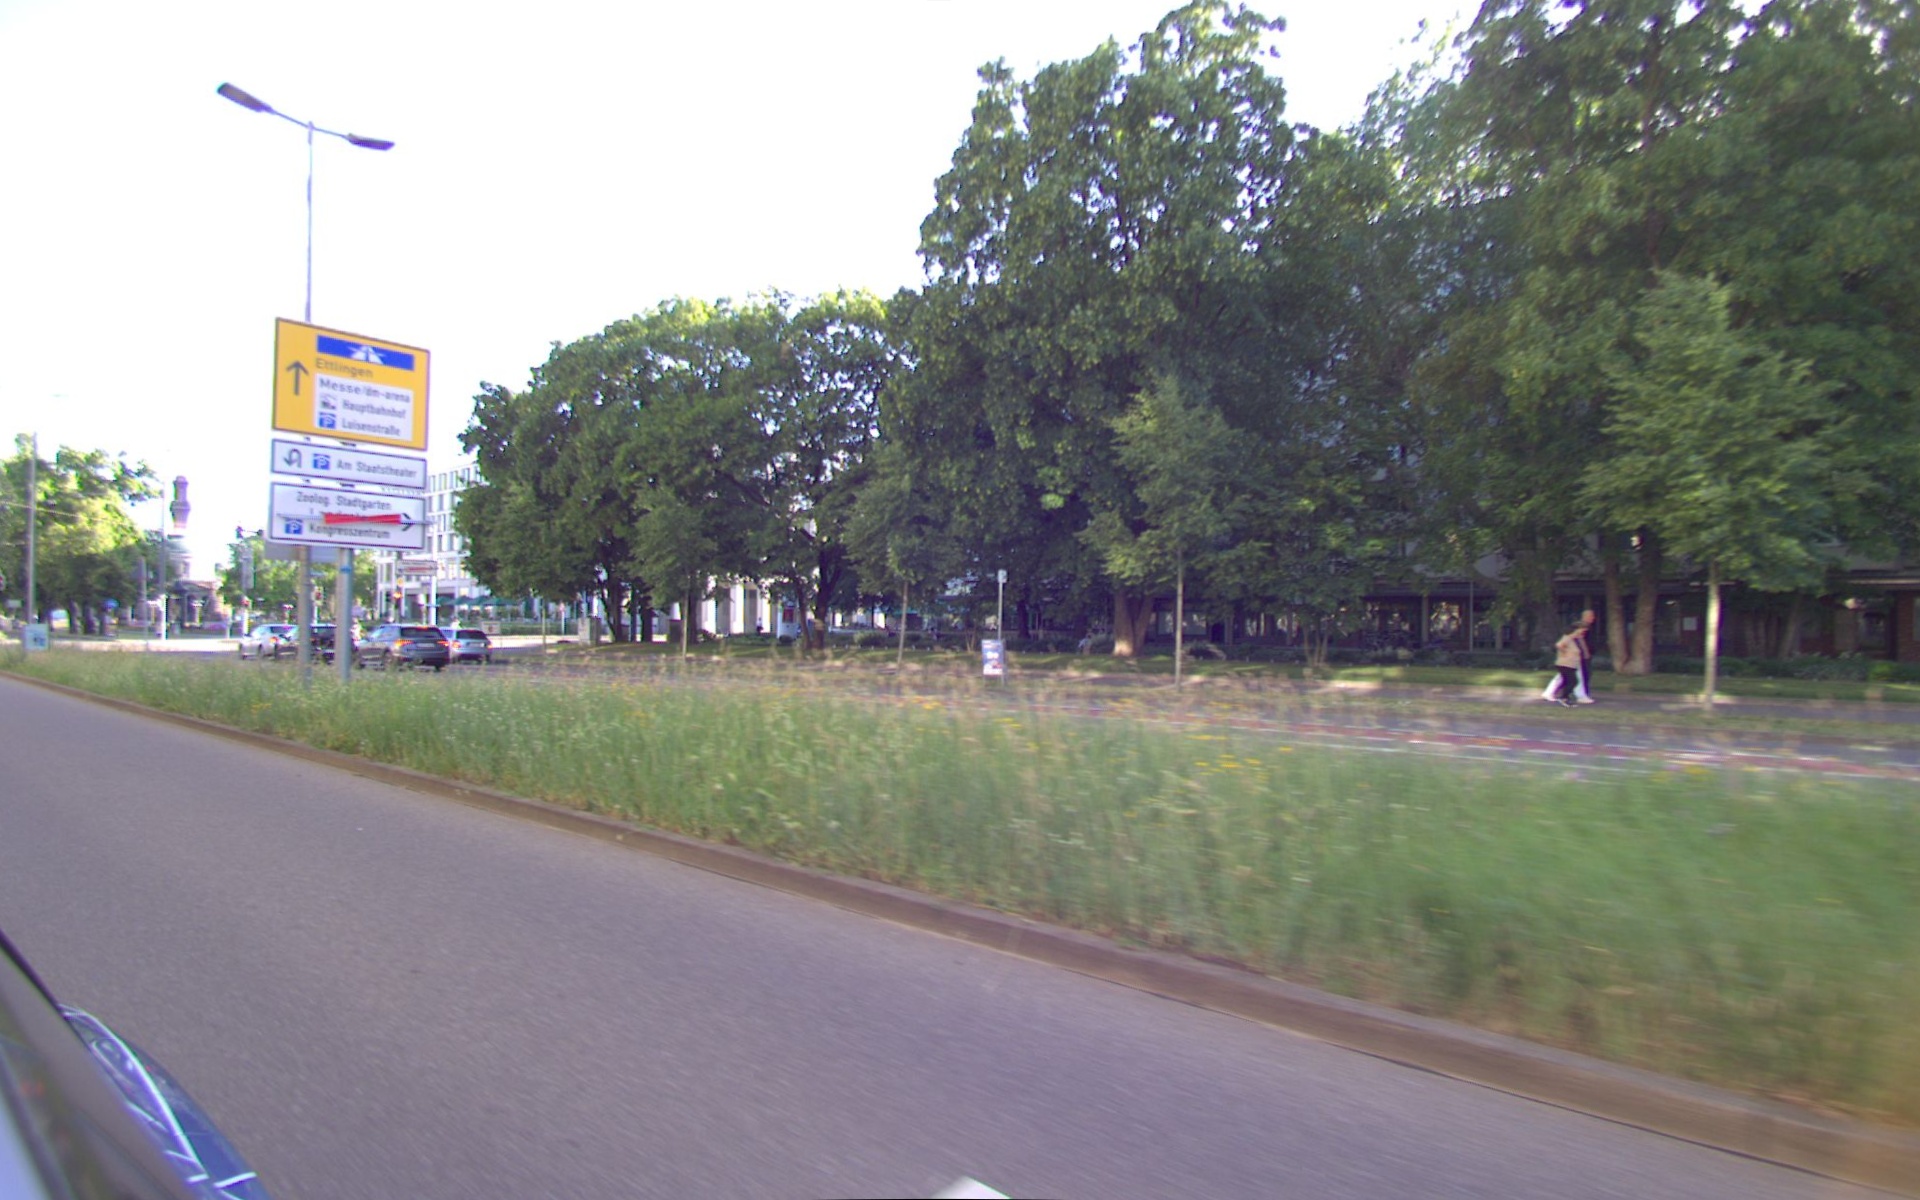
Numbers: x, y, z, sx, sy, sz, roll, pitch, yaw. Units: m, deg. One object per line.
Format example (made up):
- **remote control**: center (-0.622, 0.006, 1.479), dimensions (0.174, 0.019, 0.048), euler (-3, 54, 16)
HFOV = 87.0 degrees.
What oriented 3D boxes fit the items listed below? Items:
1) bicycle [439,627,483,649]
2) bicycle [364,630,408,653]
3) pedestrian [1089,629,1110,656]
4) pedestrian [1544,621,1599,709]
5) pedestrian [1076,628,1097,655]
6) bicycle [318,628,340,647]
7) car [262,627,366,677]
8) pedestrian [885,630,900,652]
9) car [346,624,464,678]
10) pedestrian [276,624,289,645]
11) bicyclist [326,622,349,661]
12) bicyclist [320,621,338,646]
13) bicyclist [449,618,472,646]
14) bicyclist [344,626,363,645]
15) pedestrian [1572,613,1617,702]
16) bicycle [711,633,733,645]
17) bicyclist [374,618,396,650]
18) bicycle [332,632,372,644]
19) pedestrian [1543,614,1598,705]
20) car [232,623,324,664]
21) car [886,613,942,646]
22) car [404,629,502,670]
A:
- **bicycle**: center (-30.557, 2.329, 62.050), dimensions (0.777, 1.249, 2.281), euler (-6, -8, 40)
- **bicycle**: center (-32.686, 2.375, 57.667), dimensions (0.778, 1.249, 1.993), euler (1, -1, 40)
- **pedestrian**: center (7.131, 2.150, 51.742), dimensions (0.716, 1.350, 0.817), euler (-2, -2, 44)
- **pedestrian**: center (11.743, 1.227, 19.438), dimensions (0.726, 1.653, 0.734), euler (-2, -3, 45)
- **pedestrian**: center (6.536, 2.132, 52.269), dimensions (0.665, 1.350, 0.895), euler (-2, -2, 44)
- **bicycle**: center (-41.762, 2.504, 66.992), dimensions (0.832, 1.240, 2.021), euler (1, -2, -20)
- **car**: center (-23.464, 1.834, 36.703), dimensions (4.547, 1.688, 1.972), euler (-1, -2, 41)
- **pedestrian**: center (-4.124, 2.486, 61.925), dimensions (0.599, 1.350, 0.723), euler (-2, -2, 44)
- **car**: center (-17.395, 1.550, 31.648), dimensions (4.059, 1.576, 1.972), euler (-1, -2, 41)
- **pedestrian**: center (-51.178, 2.588, 76.443), dimensions (0.602, 1.537, 0.616), euler (-1, -2, 36)
- **bicyclist**: center (-27.471, 1.820, 44.689), dimensions (0.771, 1.692, 0.841), euler (3, -3, -35)
- **bicyclist**: center (-41.750, 2.213, 66.961), dimensions (0.837, 1.631, 0.976), euler (1, -2, -20)
- **bicyclist**: center (-30.574, 1.962, 61.964), dimensions (0.775, 1.703, 0.913), euler (1, -3, 41)
- **bicyclist**: center (-43.545, 2.534, 72.688), dimensions (0.826, 1.372, 0.959), euler (-1, -2, 42)
- **pedestrian**: center (12.844, 1.154, 20.486), dimensions (0.655, 1.754, 0.518), euler (-2, -3, 45)
- **bicycle**: center (-18.025, 2.960, 76.662), dimensions (1.601, 0.896, 0.762), euler (-1, -2, 33)
- **bicyclist**: center (-32.739, 1.926, 57.587), dimensions (0.754, 1.756, 0.827), euler (1, -1, 41)
- **bicycle**: center (-43.602, 2.720, 72.629), dimensions (0.843, 0.858, 2.304), euler (-1, -2, 41)
- **pedestrian**: center (12.137, 1.172, 20.117), dimensions (0.761, 1.754, 0.762), euler (-2, -3, 45)
- **car**: center (-27.397, 1.708, 40.617), dimensions (4.547, 1.572, 1.972), euler (-1, -2, 41)
- **car**: center (-4.238, 2.694, 93.731), dimensions (2.597, 2.975, 5.023), euler (-1, -2, 38)
- **car**: center (-20.295, 1.948, 40.441), dimensions (4.586, 1.538, 1.912), euler (-1, -4, 42)
